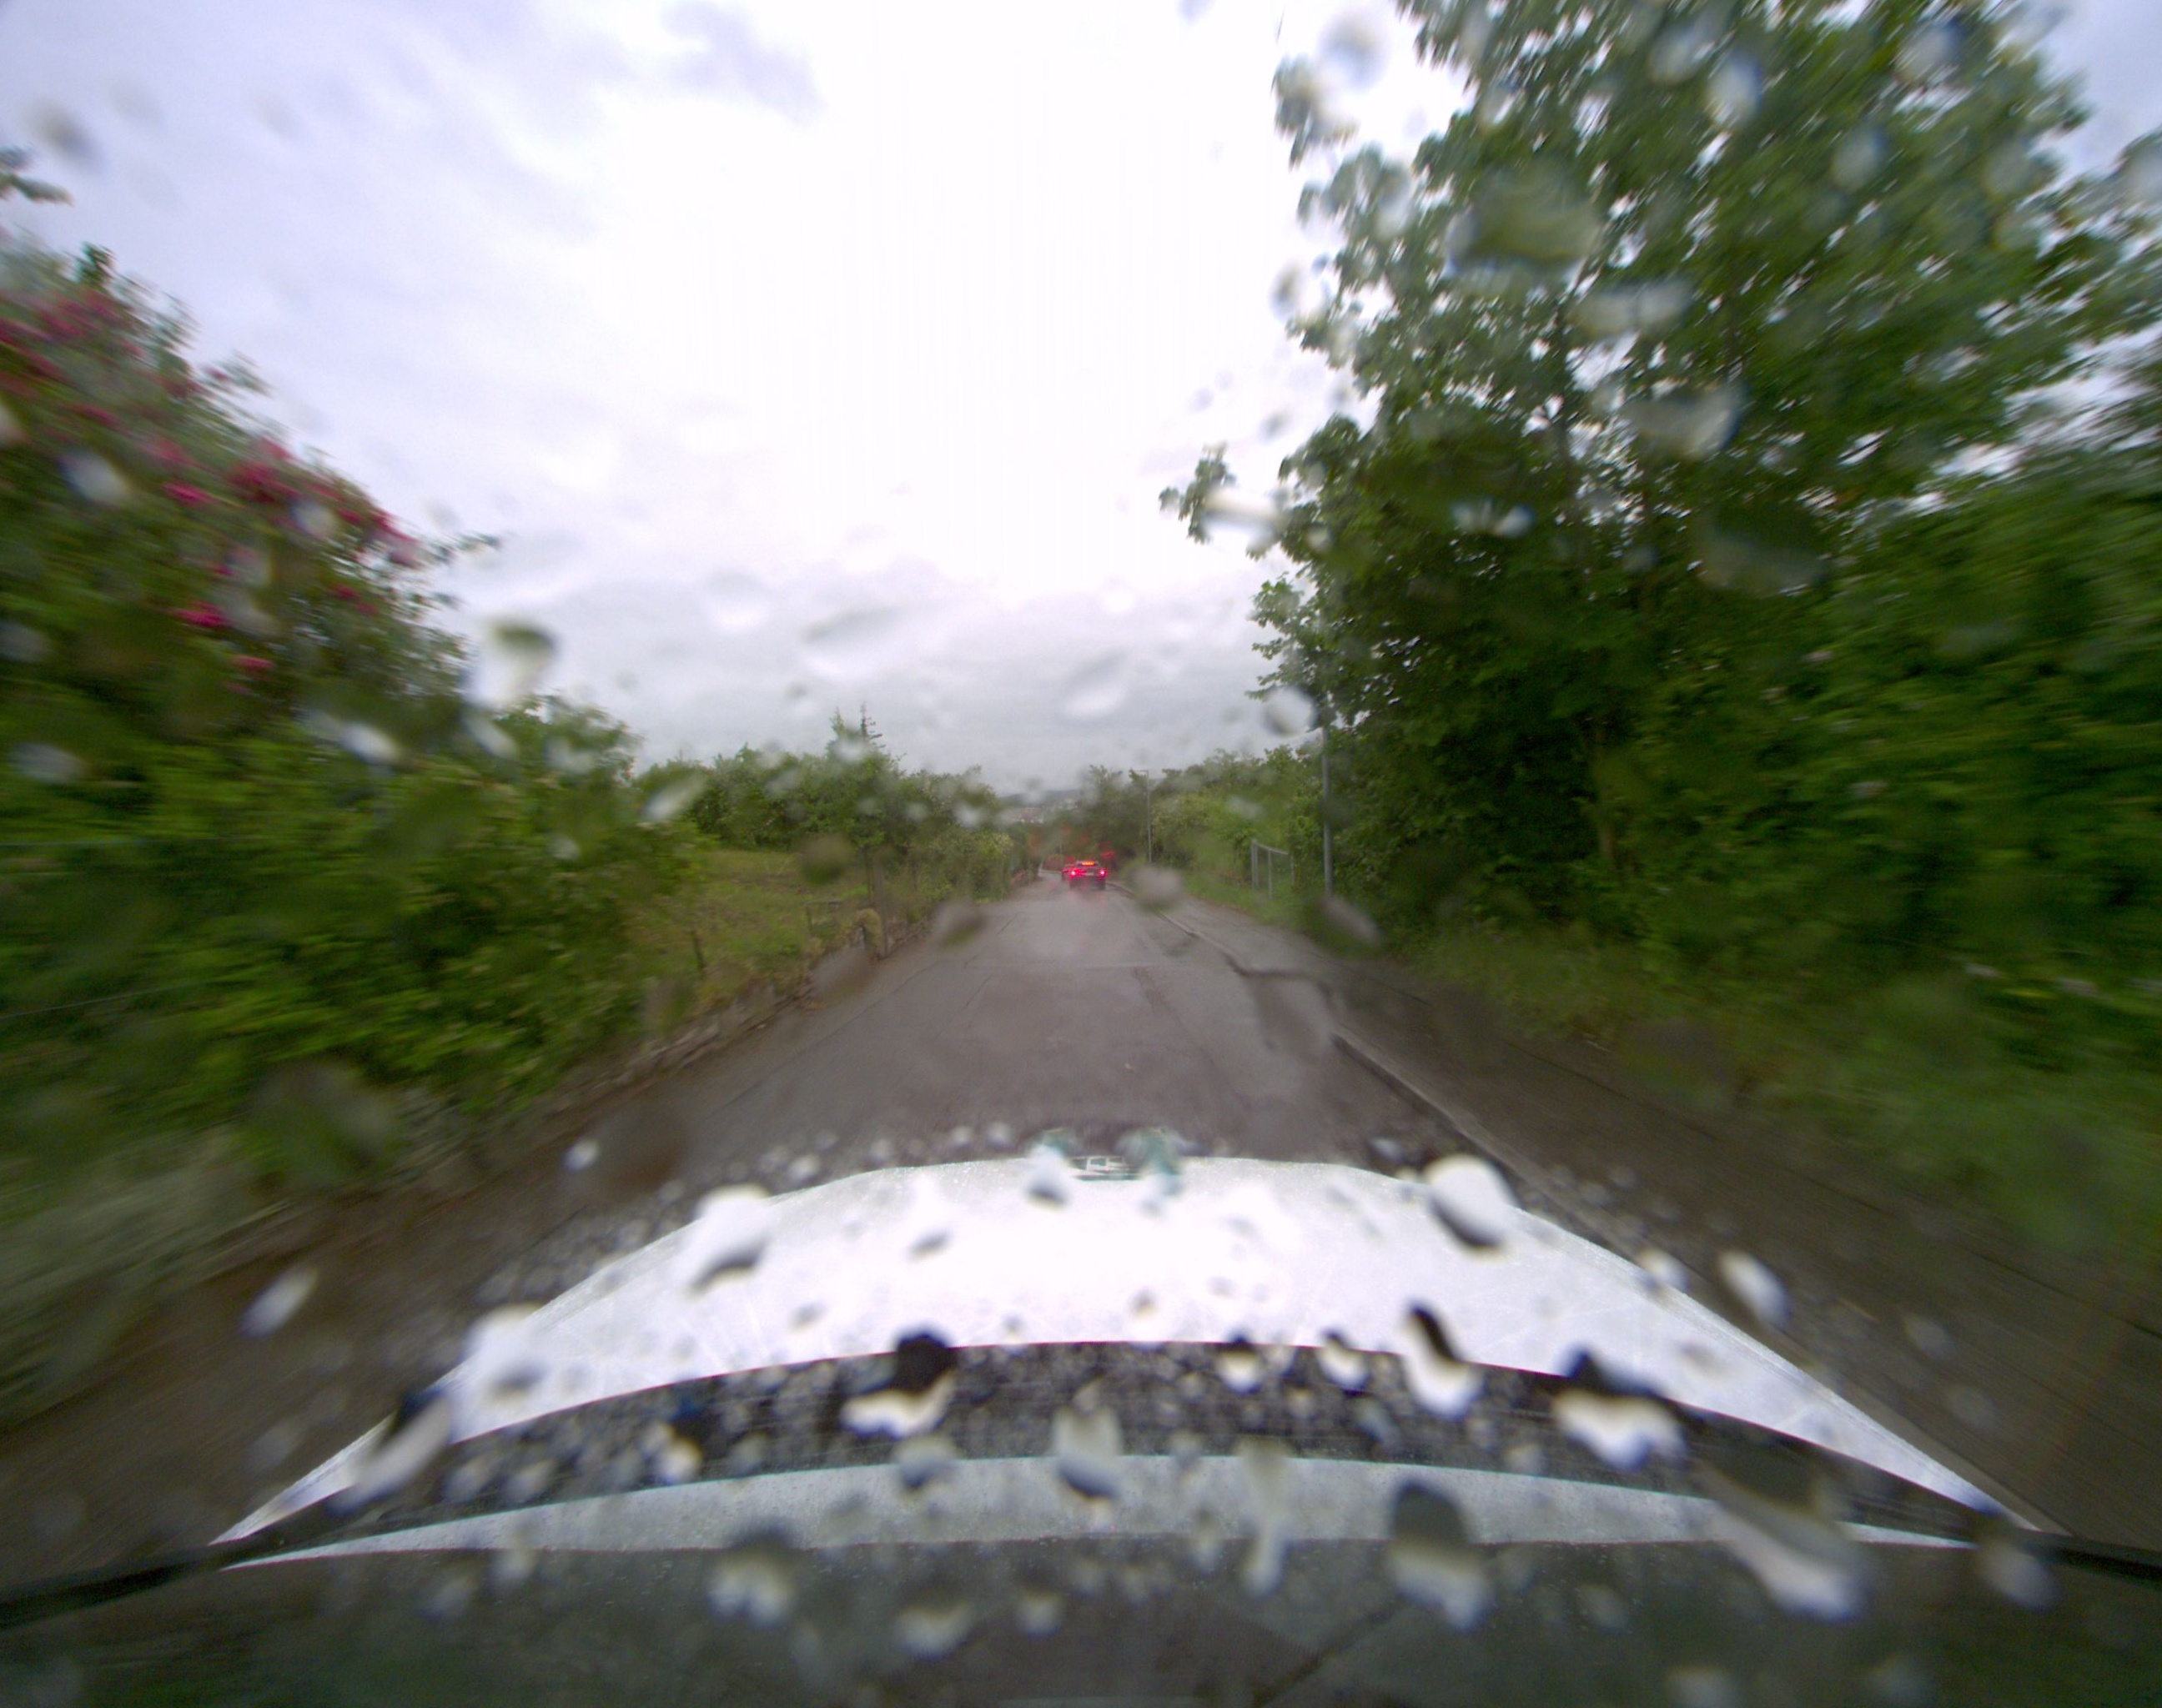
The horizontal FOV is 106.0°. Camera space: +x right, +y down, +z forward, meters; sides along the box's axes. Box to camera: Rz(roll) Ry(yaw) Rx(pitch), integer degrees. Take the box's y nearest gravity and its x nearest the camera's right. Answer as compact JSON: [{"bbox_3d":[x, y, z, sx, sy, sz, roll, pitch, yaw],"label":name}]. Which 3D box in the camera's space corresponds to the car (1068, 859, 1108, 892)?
[{"bbox_3d":[0.307,1.049,41.523,1.830,1.464,3.997,-2,0,-2],"label":"car"}]

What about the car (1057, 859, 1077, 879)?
[{"bbox_3d":[-1.230,1.303,71.011,1.673,1.565,3.793,-1,1,0],"label":"car"}]
